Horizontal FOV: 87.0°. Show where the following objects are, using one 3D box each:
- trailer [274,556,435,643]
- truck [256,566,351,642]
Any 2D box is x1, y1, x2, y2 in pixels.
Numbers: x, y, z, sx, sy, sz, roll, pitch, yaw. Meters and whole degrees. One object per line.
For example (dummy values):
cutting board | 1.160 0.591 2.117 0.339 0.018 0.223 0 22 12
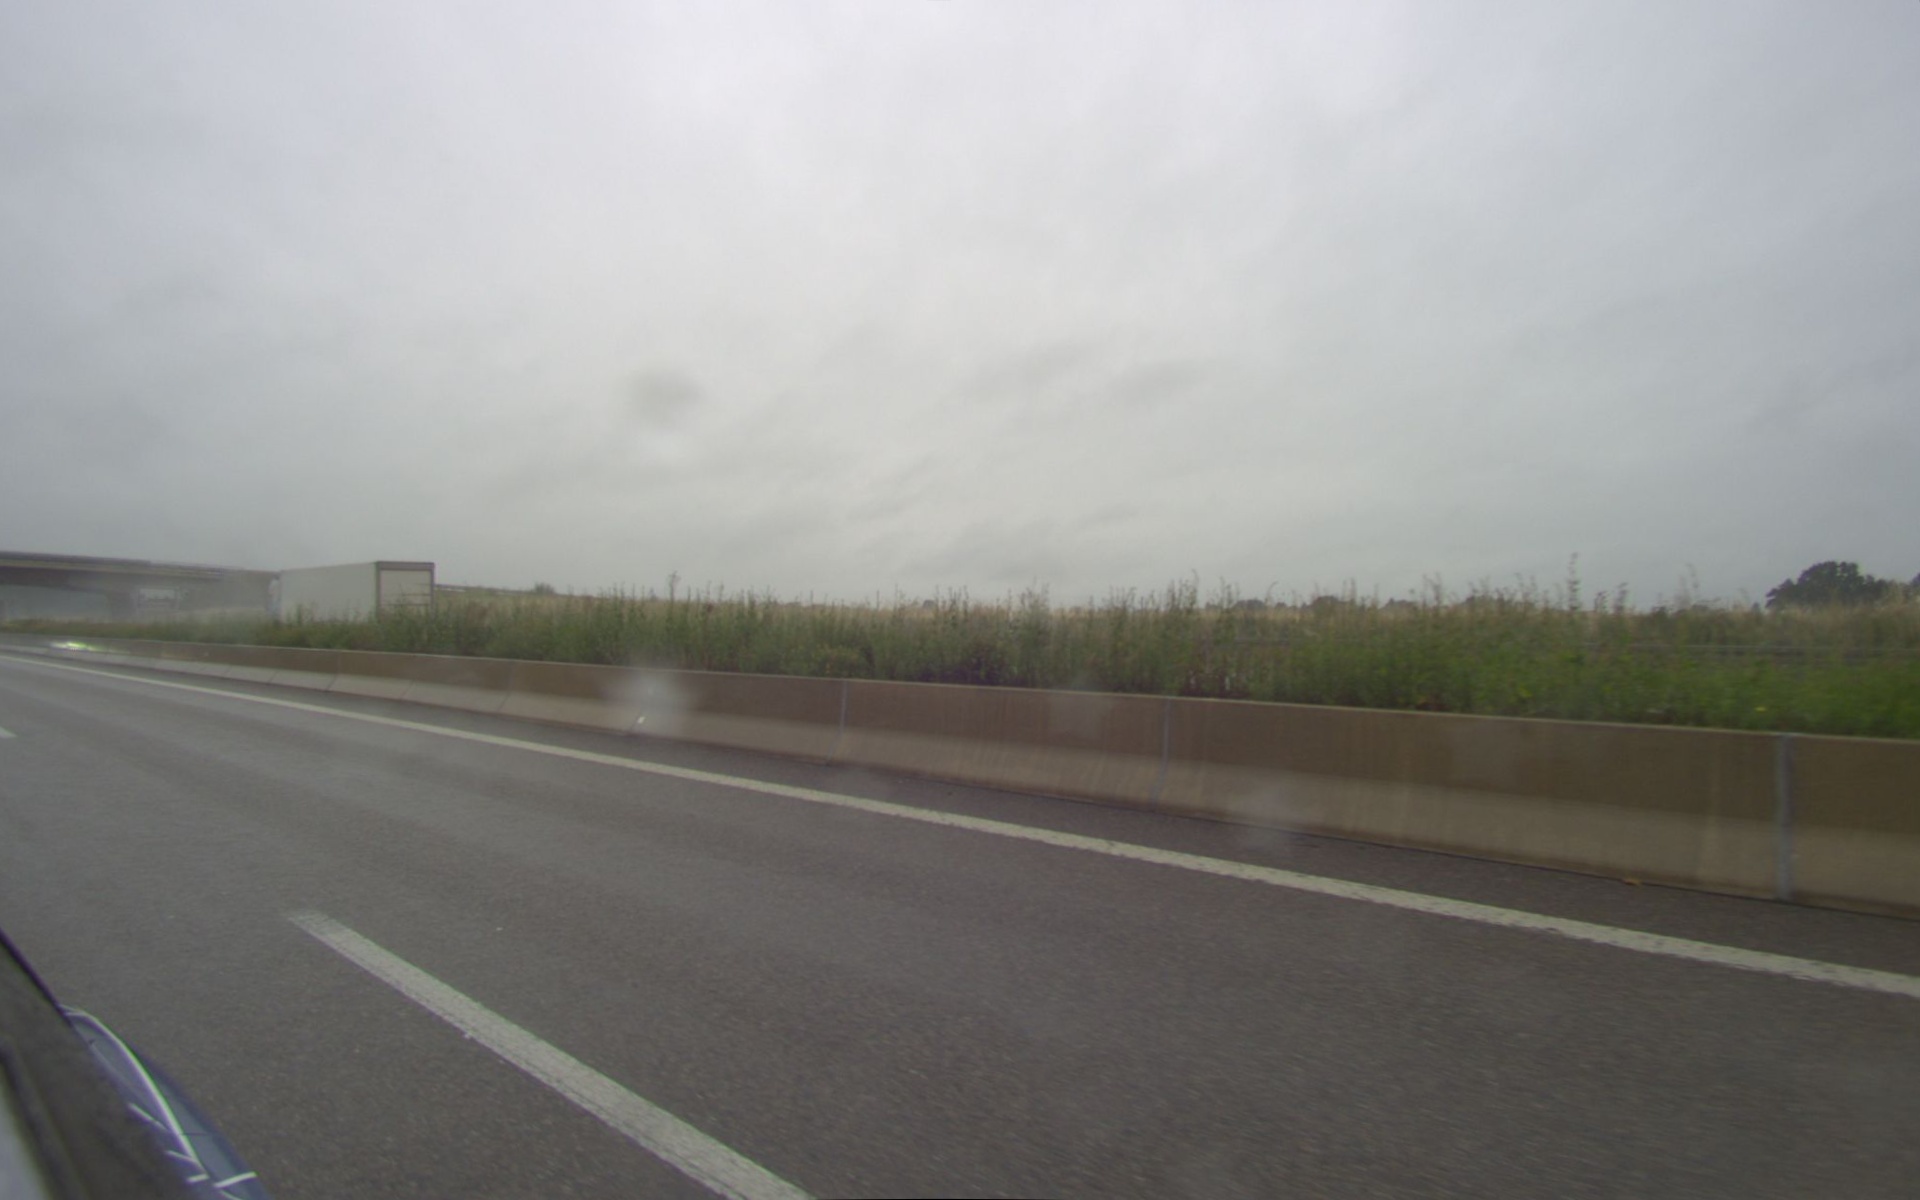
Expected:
trailer | -31.602 0.113 52.336 14.298 4.012 2.914 -1 -1 41
truck | -37.159 0.260 57.198 6.213 4.024 2.922 -1 -1 41
